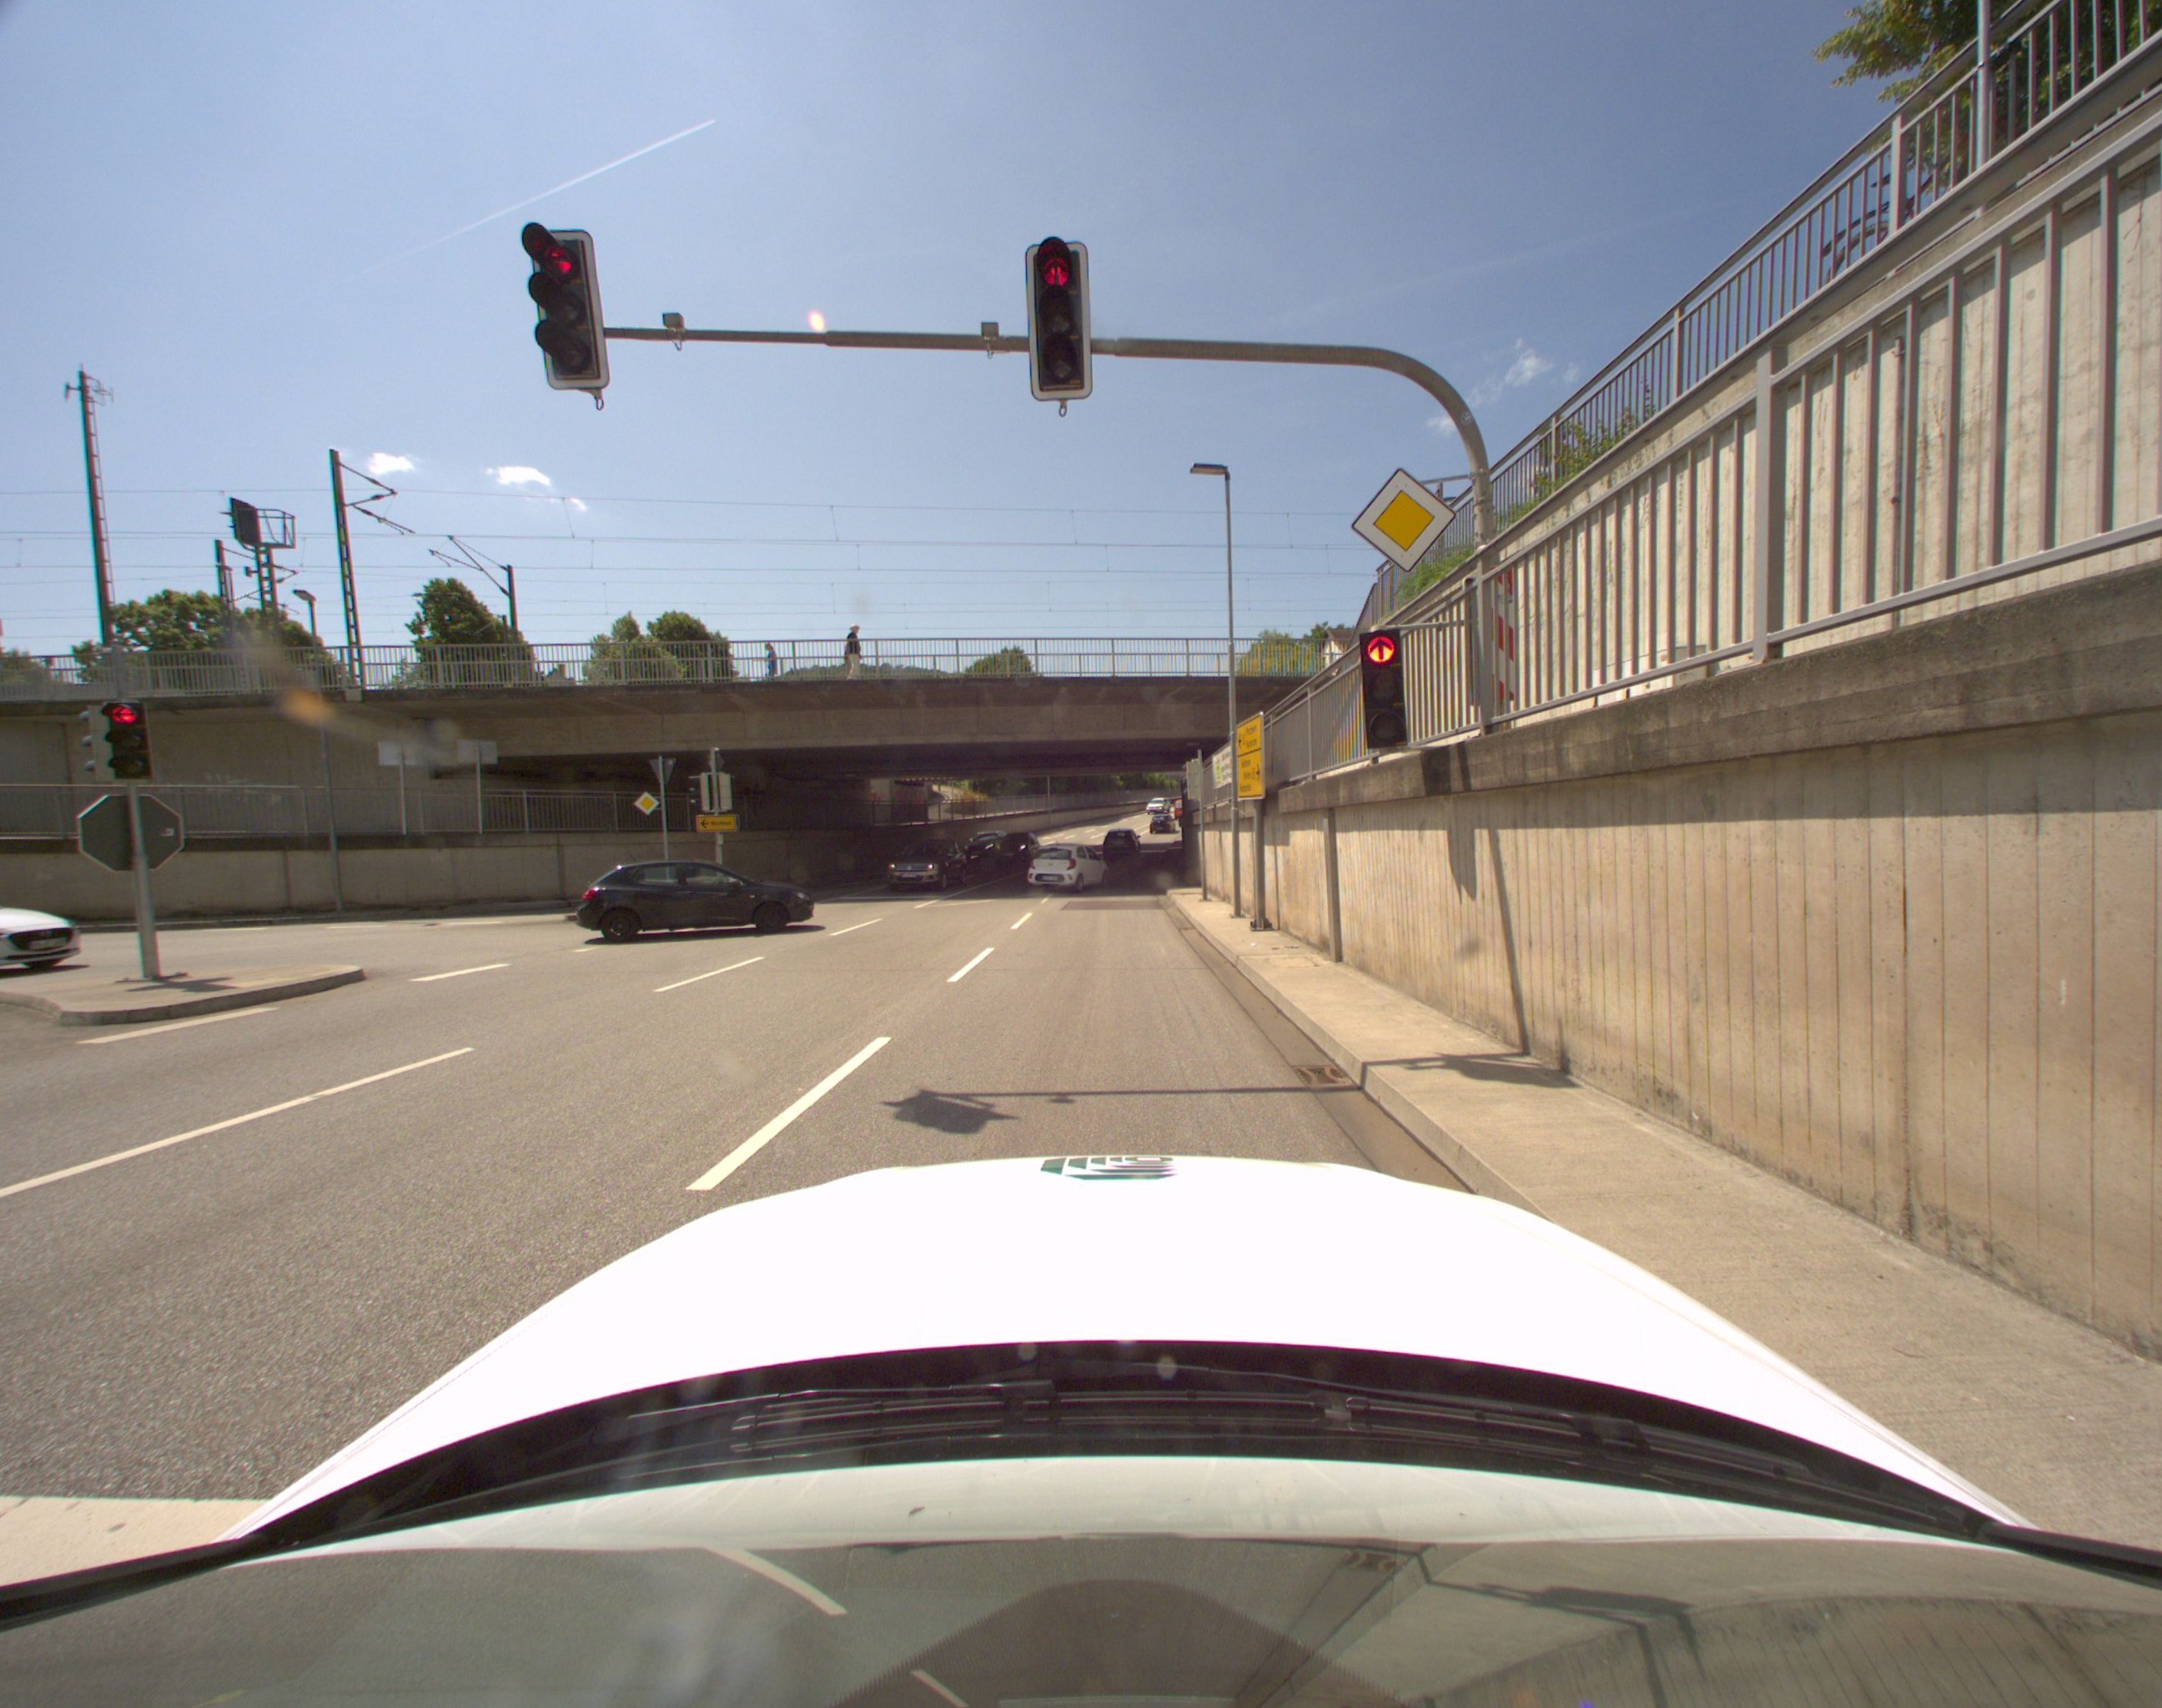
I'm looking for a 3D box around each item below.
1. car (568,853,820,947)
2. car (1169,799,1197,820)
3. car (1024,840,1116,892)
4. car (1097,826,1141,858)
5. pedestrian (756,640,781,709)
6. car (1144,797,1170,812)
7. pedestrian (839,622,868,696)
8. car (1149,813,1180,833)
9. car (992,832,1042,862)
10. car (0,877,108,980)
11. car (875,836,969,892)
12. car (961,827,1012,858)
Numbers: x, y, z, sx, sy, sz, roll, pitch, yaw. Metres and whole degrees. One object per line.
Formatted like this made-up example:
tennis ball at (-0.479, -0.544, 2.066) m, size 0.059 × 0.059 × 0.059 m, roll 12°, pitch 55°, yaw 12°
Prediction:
car at (-7.123, 0.770, 15.288) m, size 4.007 × 1.374 × 1.753 m, roll -2°, pitch 2°, yaw -25°
car at (9.941, -4.296, 79.178) m, size 1.858 × 1.932 × 4.741 m, roll -1°, pitch 2°, yaw 17°
car at (-0.254, 0.315, 26.137) m, size 1.711 × 1.419 × 4.019 m, roll -1°, pitch 2°, yaw 18°
car at (2.099, -0.685, 43.711) m, size 1.983 × 1.588 × 4.009 m, roll -1°, pitch 2°, yaw 7°
pedestrian at (-9.967, -5.726, 25.962) m, size 0.538 × 2.081 × 0.534 m, roll -2°, pitch 0°, yaw -5°
car at (8.480, -5.494, 90.411) m, size 1.977 × 1.588 × 4.021 m, roll 1°, pitch 5°, yaw 19°
pedestrian at (-6.894, -5.894, 24.660) m, size 0.571 × 2.081 × 0.538 m, roll -2°, pitch 0°, yaw 19°
car at (6.683, -2.460, 64.600) m, size 1.980 × 1.507 × 4.014 m, roll -1°, pitch 2°, yaw 12°
car at (-3.315, -0.411, 42.688) m, size 1.772 × 1.436 × 4.009 m, roll -1°, pitch 2°, yaw 7°
car at (-18.026, 1.183, 12.448) m, size 3.891 × 1.432 × 1.726 m, roll -1°, pitch 2°, yaw -5°
car at (-5.172, 0.270, 27.074) m, size 1.984 × 1.627 × 4.006 m, roll -1°, pitch 2°, yaw 4°
car at (-5.358, -0.683, 46.724) m, size 1.983 × 1.588 × 4.009 m, roll -1°, pitch 2°, yaw 7°
